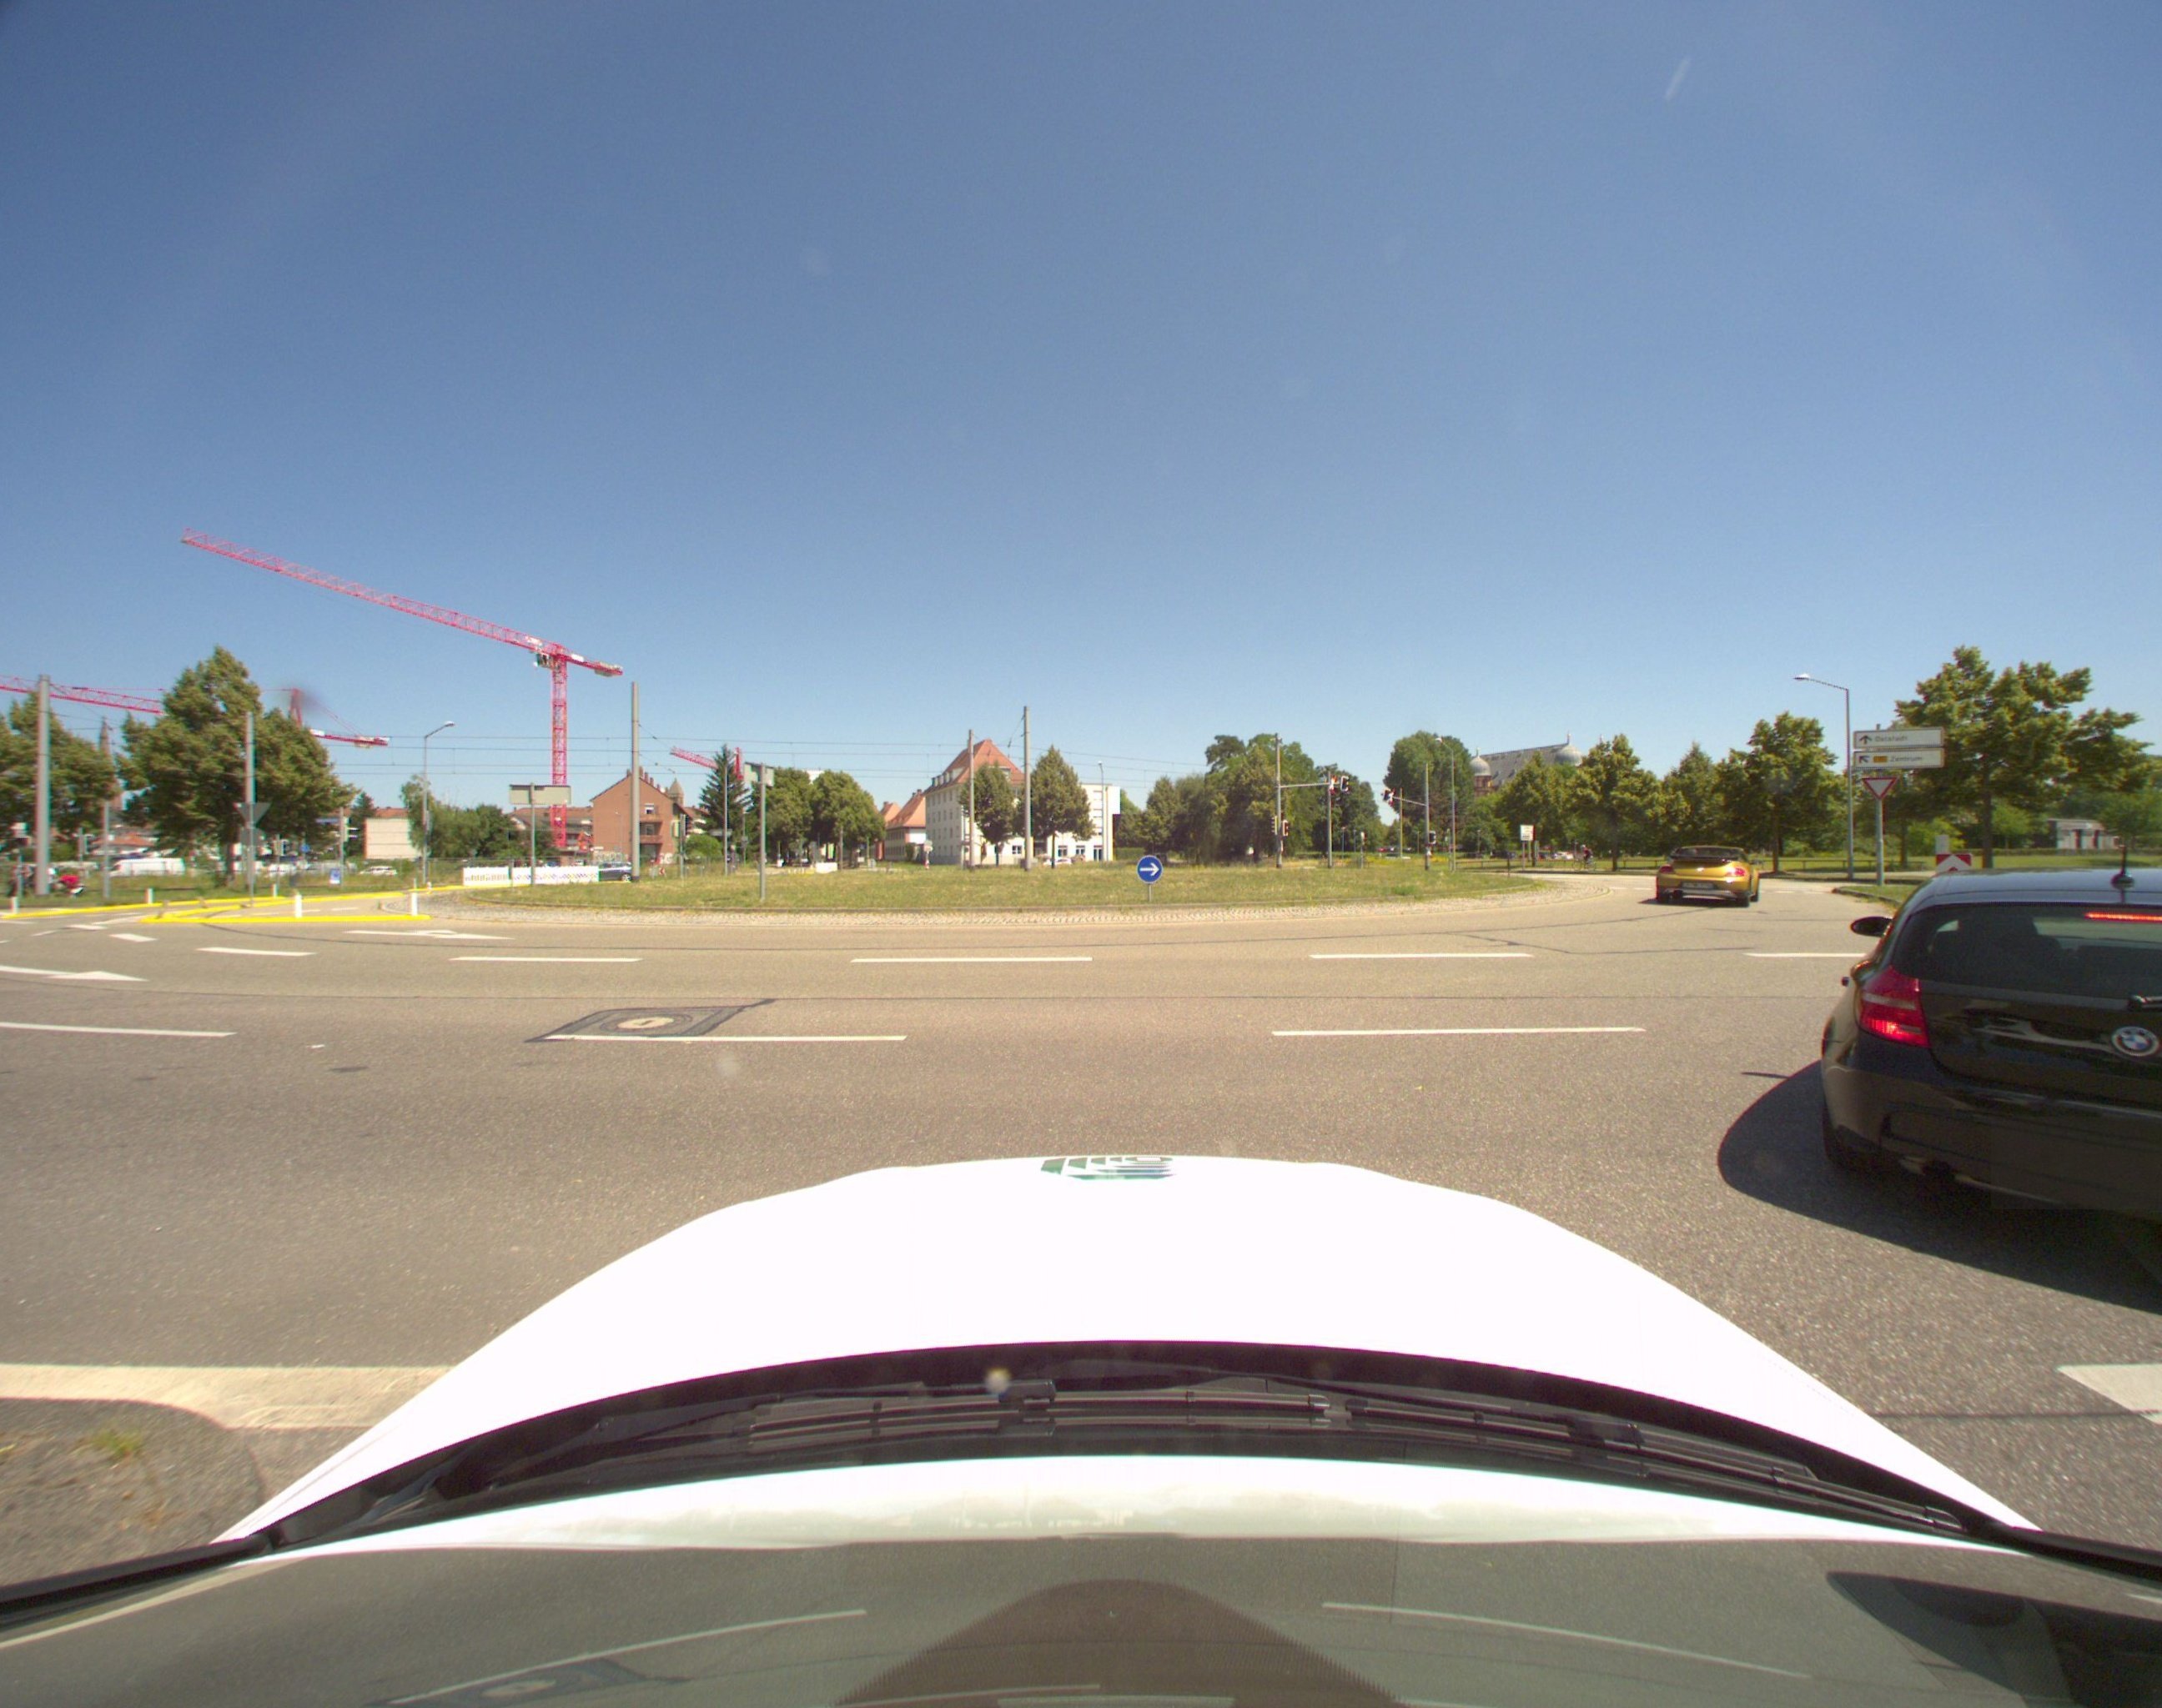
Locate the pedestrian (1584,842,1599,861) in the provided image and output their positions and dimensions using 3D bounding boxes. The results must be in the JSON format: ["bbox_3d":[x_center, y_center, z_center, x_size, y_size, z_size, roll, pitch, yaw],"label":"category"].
[{"bbox_3d":[37.754,-0.178,60.230,0.808,1.451,0.714,0,-1,44],"label":"pedestrian"}]

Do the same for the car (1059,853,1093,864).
[{"bbox_3d":[-0.649,0.591,103.122,3.897,1.420,1.706,1,-1,-17],"label":"car"}]

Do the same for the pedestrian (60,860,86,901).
[{"bbox_3d":[-47.867,1.249,38.676,0.632,1.934,0.639,-1,0,-39],"label":"pedestrian"}]

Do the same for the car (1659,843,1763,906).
[{"bbox_3d":[15.605,0.452,20.113,1.808,1.403,3.684,0,0,41],"label":"car"}]

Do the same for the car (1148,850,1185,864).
[{"bbox_3d":[10.334,0.379,98.160,3.996,1.684,1.989,1,-1,-17],"label":"car"}]

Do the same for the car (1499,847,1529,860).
[{"bbox_3d":[67.365,-0.038,126.647,3.948,2.014,2.013,0,-1,35],"label":"car"}]

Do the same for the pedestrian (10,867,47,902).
[{"bbox_3d":[-50.634,1.471,39.165,0.774,1.640,0.762,1,-1,8],"label":"pedestrian"}]

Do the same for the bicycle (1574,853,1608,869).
[{"bbox_3d":[37.745,0.504,60.250,2.033,1.115,0.734,0,-1,44],"label":"bicycle"}]

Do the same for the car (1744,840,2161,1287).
[{"bbox_3d":[4.997,0.662,4.035,4.019,1.440,1.783,-1,1,-38],"label":"car"}]

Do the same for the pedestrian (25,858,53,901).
[{"bbox_3d":[-48.093,1.155,37.585,0.632,1.934,0.639,-1,0,-39],"label":"pedestrian"}]

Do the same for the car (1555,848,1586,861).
[{"bbox_3d":[77.300,0.101,128.679,3.949,2.014,2.012,0,-1,42],"label":"car"}]

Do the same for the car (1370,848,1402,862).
[{"bbox_3d":[43.108,0.148,115.069,3.948,2.014,2.013,0,-1,35],"label":"car"}]

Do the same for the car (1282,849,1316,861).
[{"bbox_3d":[28.819,0.091,107.737,3.949,1.574,2.012,0,-1,31],"label":"car"}]

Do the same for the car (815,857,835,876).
[{"bbox_3d":[-28.046,1.332,89.325,1.998,2.014,3.977,1,-1,-17],"label":"car"}]

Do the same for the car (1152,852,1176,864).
[{"bbox_3d":[13.925,0.692,136.560,3.962,2.014,2.006,1,-1,10],"label":"car"}]

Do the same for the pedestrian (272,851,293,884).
[{"bbox_3d":[-47.954,0.806,48.933,0.600,2.014,0.594,1,-1,-5],"label":"pedestrian"}]

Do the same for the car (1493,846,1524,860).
[{"bbox_3d":[64.245,-0.122,122.484,3.948,2.014,2.013,0,-1,35],"label":"car"}]

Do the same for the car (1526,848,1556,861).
[{"bbox_3d":[71.793,0.020,127.158,3.948,2.014,2.013,0,-1,35],"label":"car"}]

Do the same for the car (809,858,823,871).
[{"bbox_3d":[-41.795,1.612,128.339,1.998,2.014,3.977,1,-1,-17],"label":"car"}]

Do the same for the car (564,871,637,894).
[{"bbox_3d":[-31.917,1.857,54.135,4.016,1.464,1.978,1,-1,-35],"label":"car"}]
